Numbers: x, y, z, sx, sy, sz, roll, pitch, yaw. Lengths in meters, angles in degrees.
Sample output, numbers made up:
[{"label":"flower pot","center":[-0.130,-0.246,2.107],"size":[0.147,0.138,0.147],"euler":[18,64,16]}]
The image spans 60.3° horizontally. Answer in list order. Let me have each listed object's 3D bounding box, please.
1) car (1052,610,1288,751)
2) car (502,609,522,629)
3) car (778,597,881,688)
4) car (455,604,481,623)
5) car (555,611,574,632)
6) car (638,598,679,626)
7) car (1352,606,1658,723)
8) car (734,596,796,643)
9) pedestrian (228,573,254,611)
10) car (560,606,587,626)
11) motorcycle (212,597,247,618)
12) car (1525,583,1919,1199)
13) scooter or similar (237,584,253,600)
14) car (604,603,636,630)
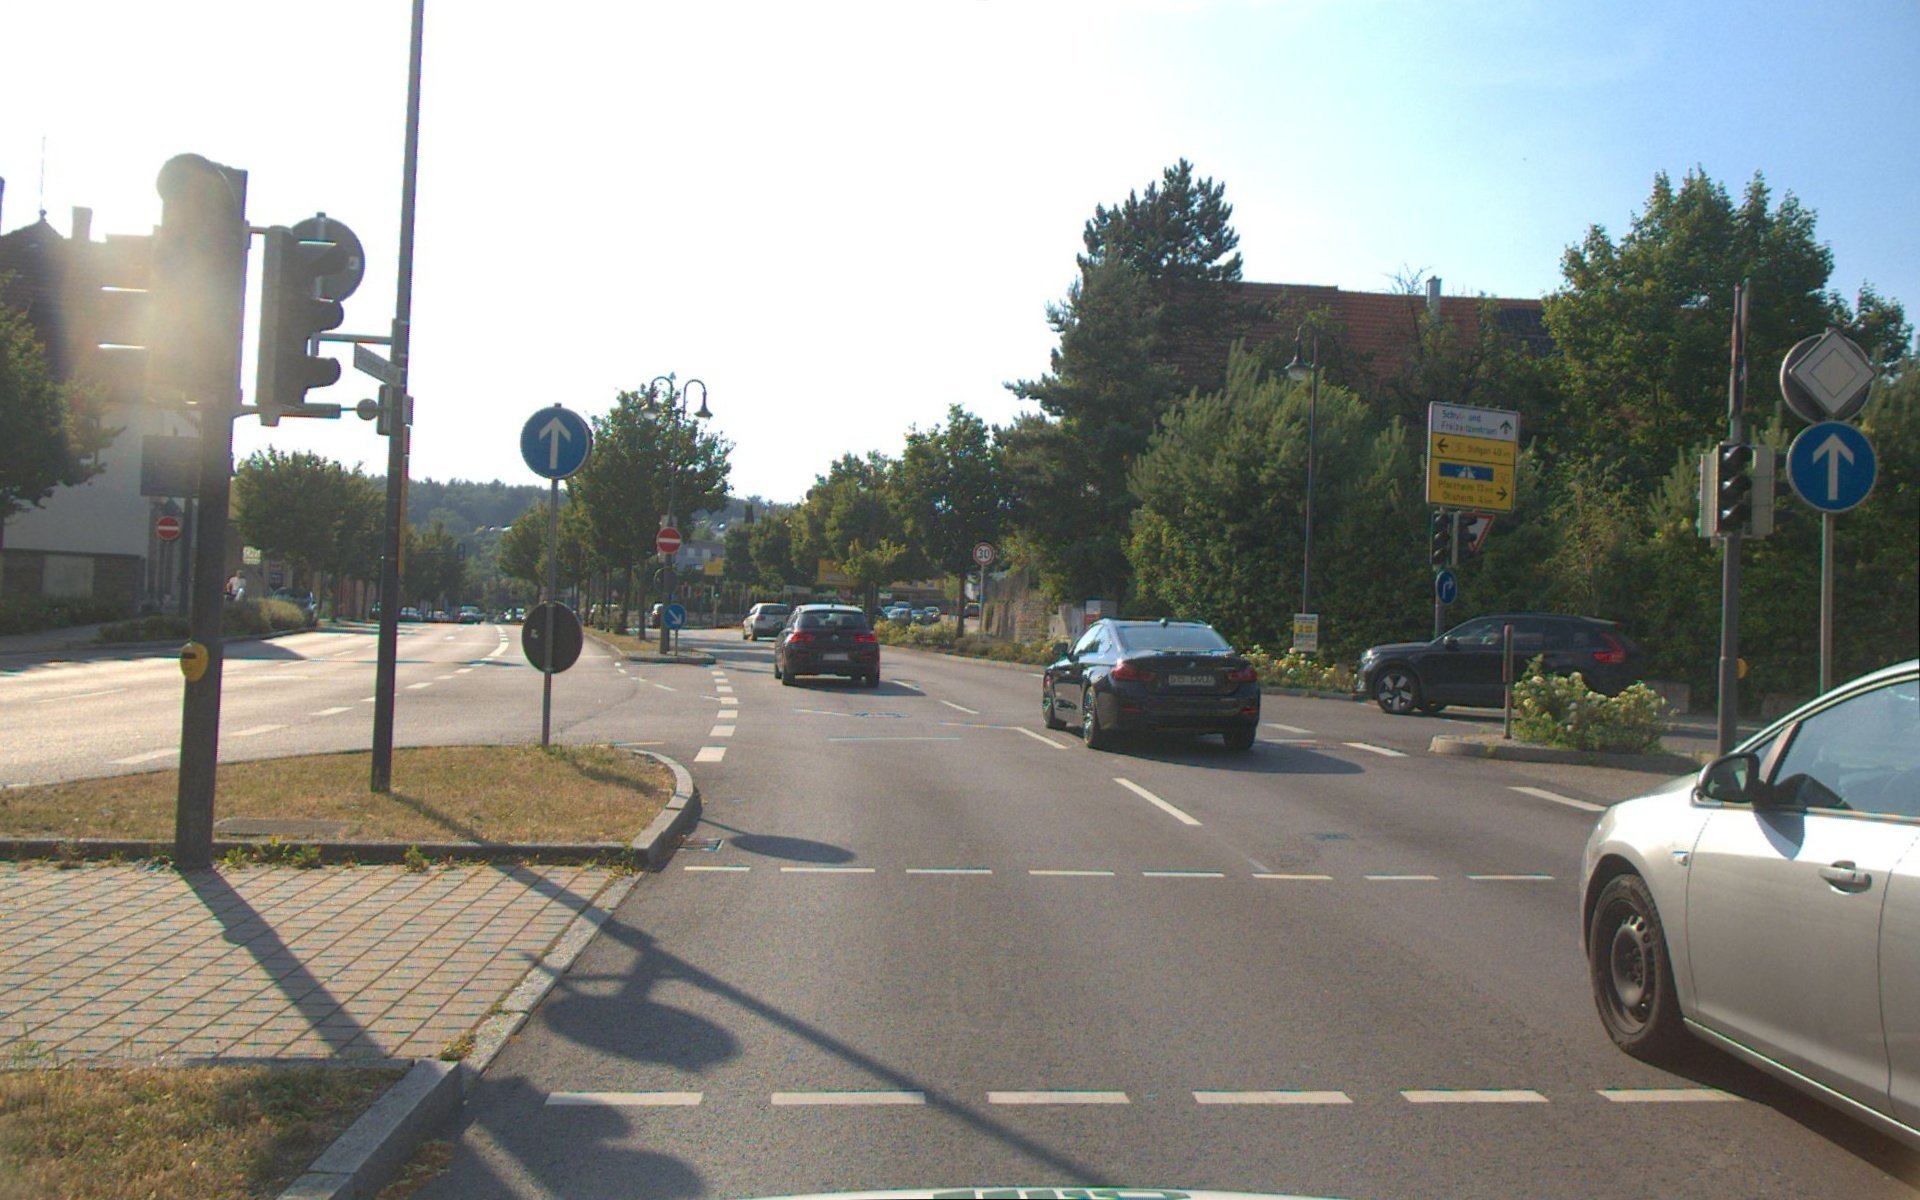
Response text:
[{"label":"car","center":[2.248,0.841,18.867],"size":[1.882,1.388,4.349],"euler":[1,-1,-4]},{"label":"car","center":[-40.619,1.724,150.100],"size":[1.701,1.708,3.984],"euler":[1,-1,-15]},{"label":"car","center":[-2.489,0.751,30.794],"size":[1.688,1.516,4.346],"euler":[2,-1,-7]},{"label":"car","center":[-39.222,1.064,131.926],"size":[1.727,1.385,4.467],"euler":[1,0,-14]},{"label":"car","center":[-40.494,2.232,169.375],"size":[1.741,2.049,3.988],"euler":[2,0,-12]},{"label":"car","center":[-20.209,0.821,110.786],"size":[2.181,1.800,4.434],"euler":[1,0,-16]},{"label":"car","center":[8.439,0.946,25.731],"size":[4.185,1.594,1.786],"euler":[1,0,36]},{"label":"car","center":[-7.902,0.758,66.674],"size":[1.893,1.800,4.437],"euler":[1,0,-15]},{"label":"pedestrian","center":[-27.632,-0.313,63.600],"size":[0.800,1.418,0.703],"euler":[1,-1,-18]},{"label":"car","center":[-36.135,1.465,154.600],"size":[2.181,1.800,4.434],"euler":[1,0,-16]},{"label":"motorcycle","center":[-39.179,0.388,88.727],"size":[0.505,1.088,1.870],"euler":[1,-1,20]},{"label":"car","center":[3.171,0.731,4.416],"size":[1.686,1.516,4.304],"euler":[1,0,-2]},{"label":"scooter or similar","center":[-27.161,-0.296,62.813],"size":[0.436,0.592,1.039],"euler":[1,0,-17]},{"label":"car","center":[-22.799,1.090,110.781],"size":[1.728,1.800,3.953],"euler":[1,-1,-16]}]
